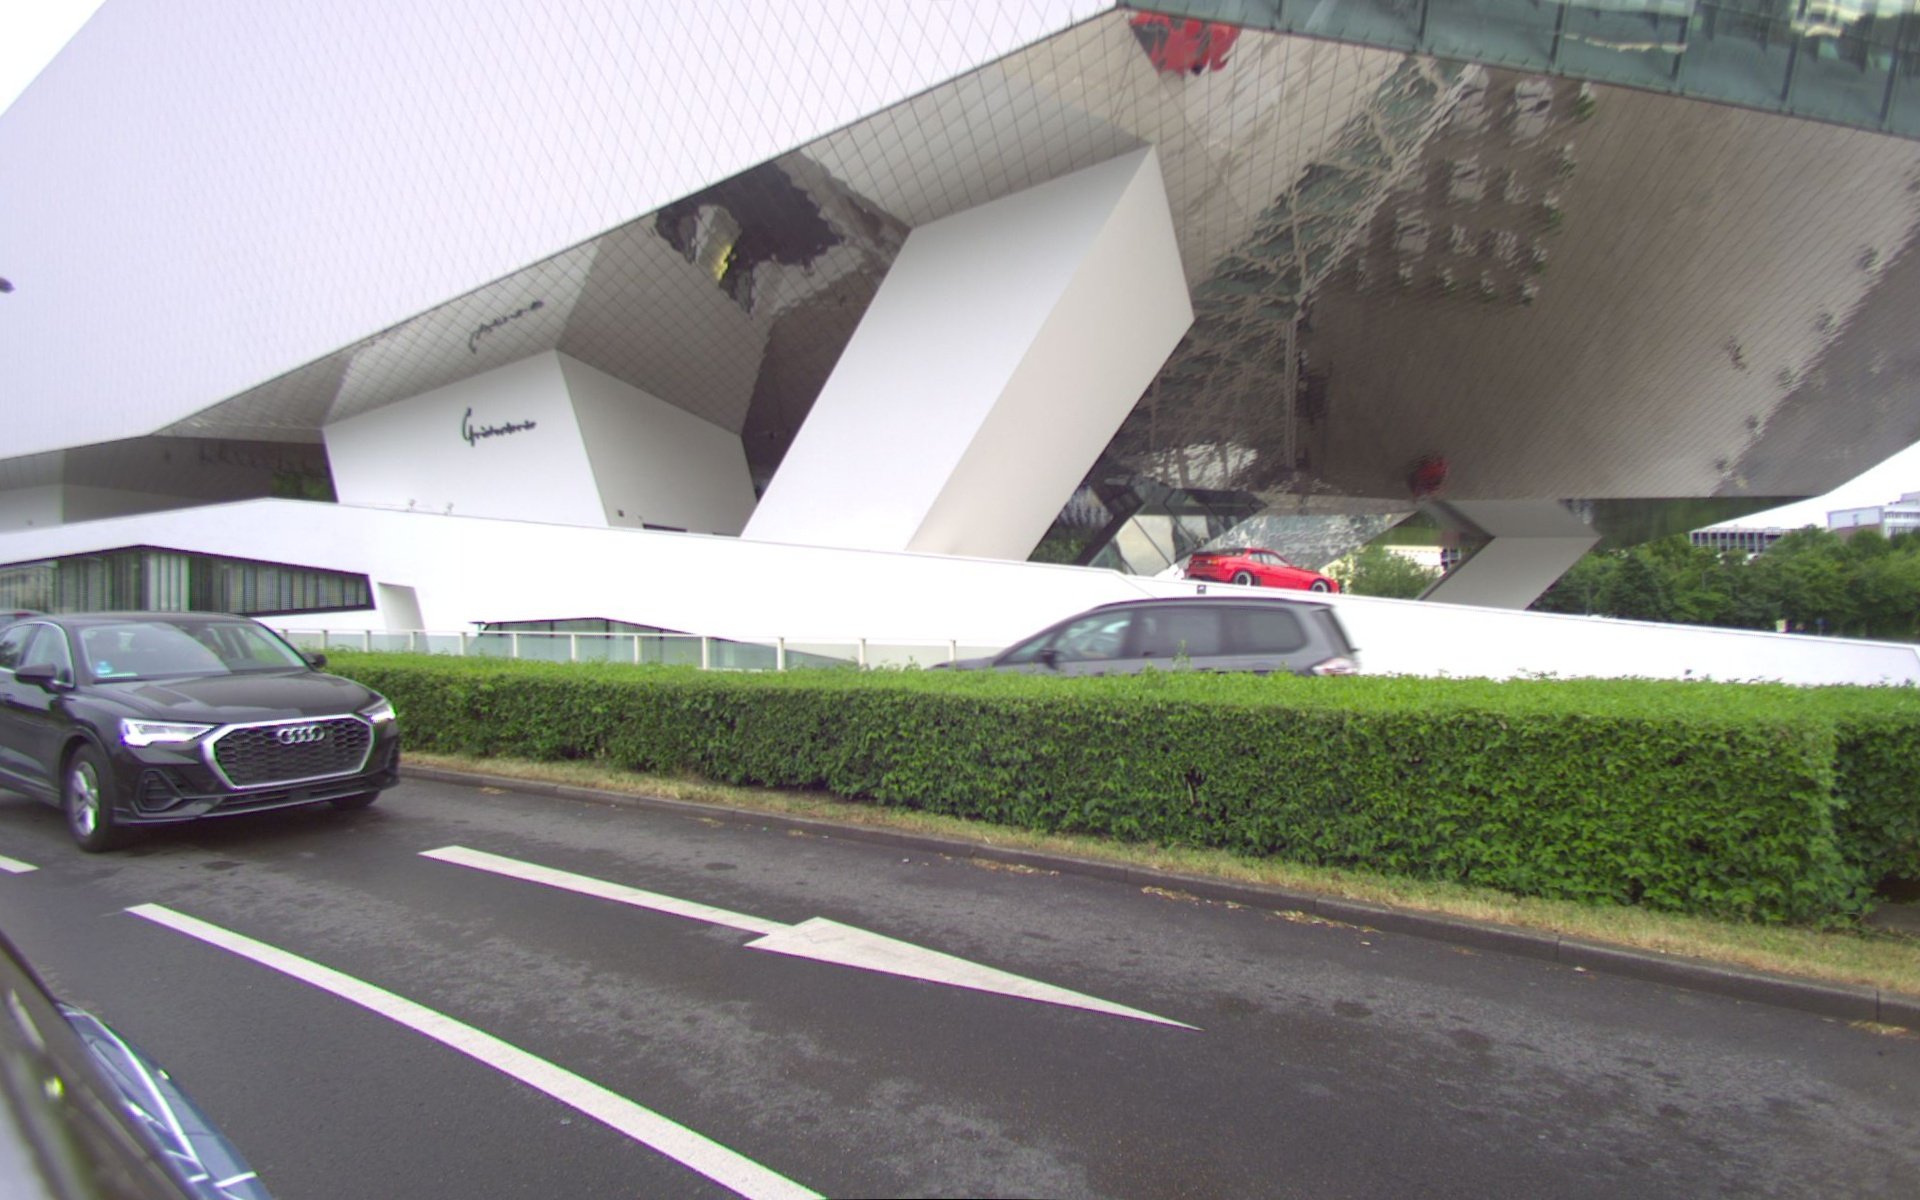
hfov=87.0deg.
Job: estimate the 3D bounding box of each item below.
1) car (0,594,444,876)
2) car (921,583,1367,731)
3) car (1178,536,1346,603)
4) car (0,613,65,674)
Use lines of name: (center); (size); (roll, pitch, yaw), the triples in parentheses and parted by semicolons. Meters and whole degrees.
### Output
car: (-6.035, 0.813, 7.624); (4.272, 1.595, 1.823); (-1, -1, 30)
car: (1.968, 0.581, 10.987); (4.460, 1.348, 1.824); (-1, -2, 25)
car: (8.209, -0.788, 27.573); (4.032, 1.252, 1.643); (7, -4, -15)
car: (-25.218, 1.107, 26.290); (3.985, 1.505, 1.820); (-1, -2, 31)
